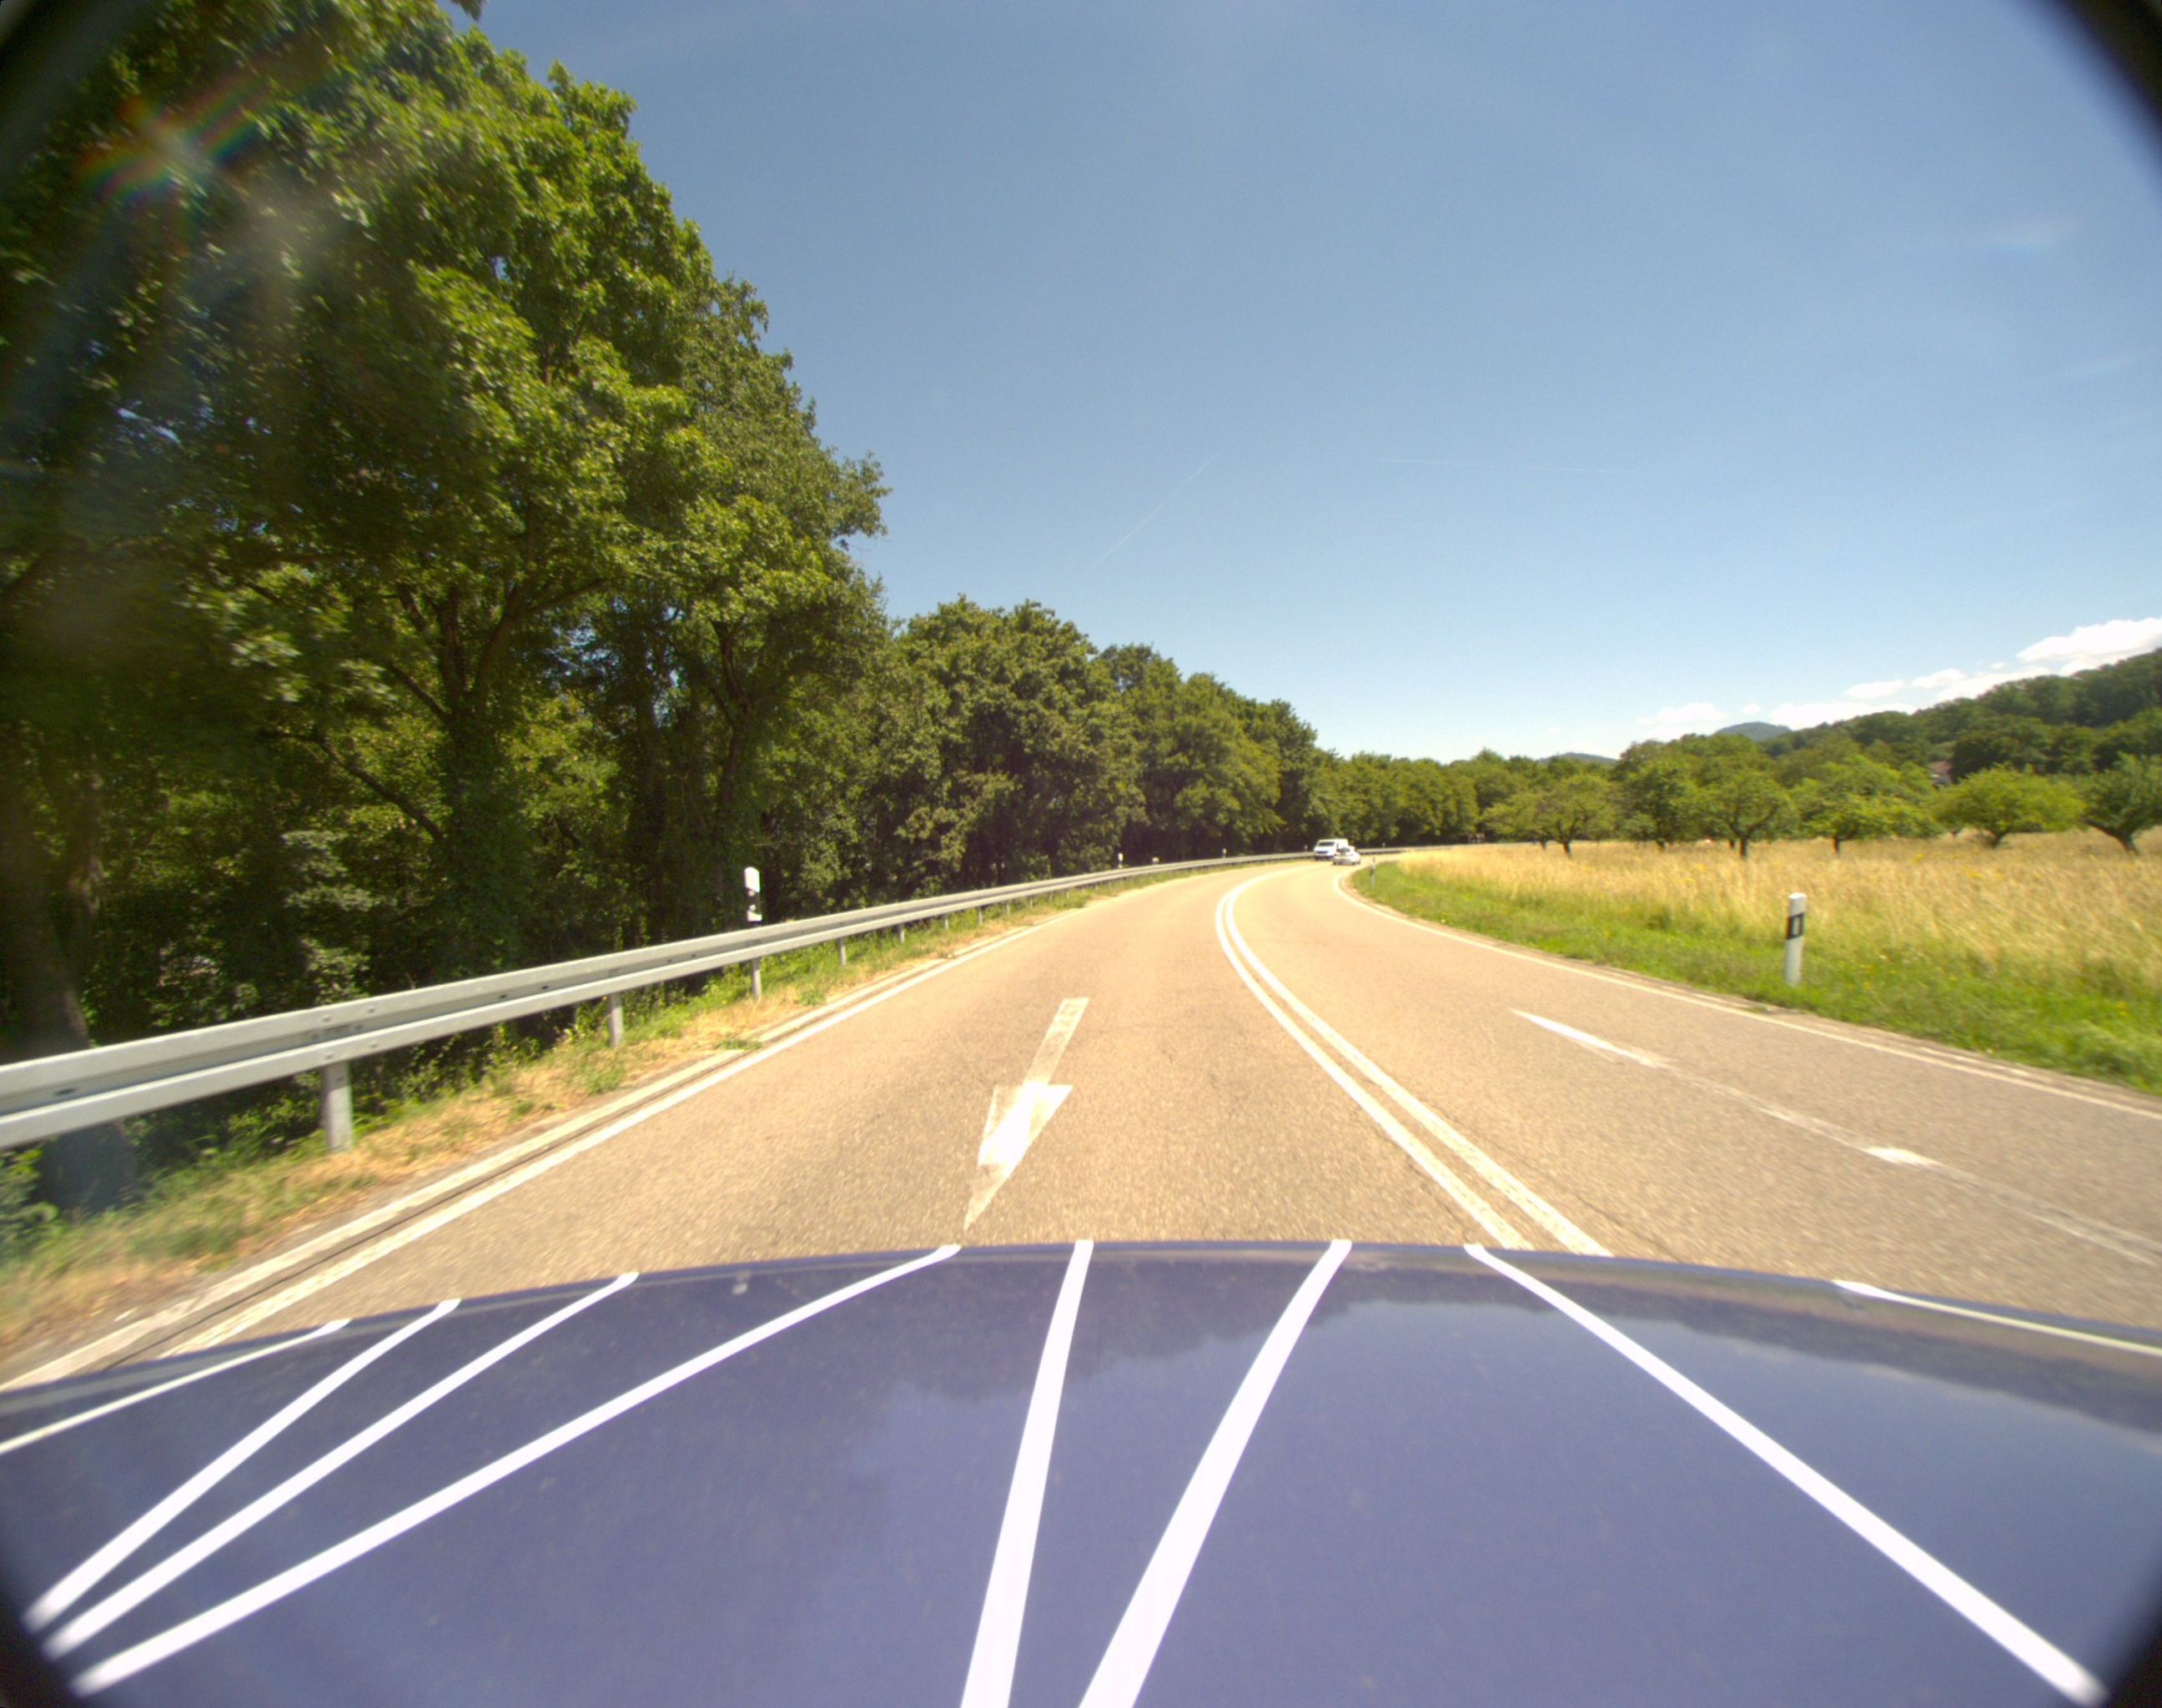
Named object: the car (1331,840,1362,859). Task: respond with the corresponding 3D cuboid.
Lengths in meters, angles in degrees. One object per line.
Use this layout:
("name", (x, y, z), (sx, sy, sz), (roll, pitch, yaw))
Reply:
("car", (21.300, -0.373, 60.807), (1.823, 1.498, 4.179), (1, 1, 26))

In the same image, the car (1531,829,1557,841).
("car", (64.840, -2.657, 106.461), (4.408, 1.450, 1.822), (-3, 5, -41))

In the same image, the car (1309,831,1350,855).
("car", (23.721, -1.119, 72.468), (2.219, 2.023, 5.436), (3, 5, 34))
